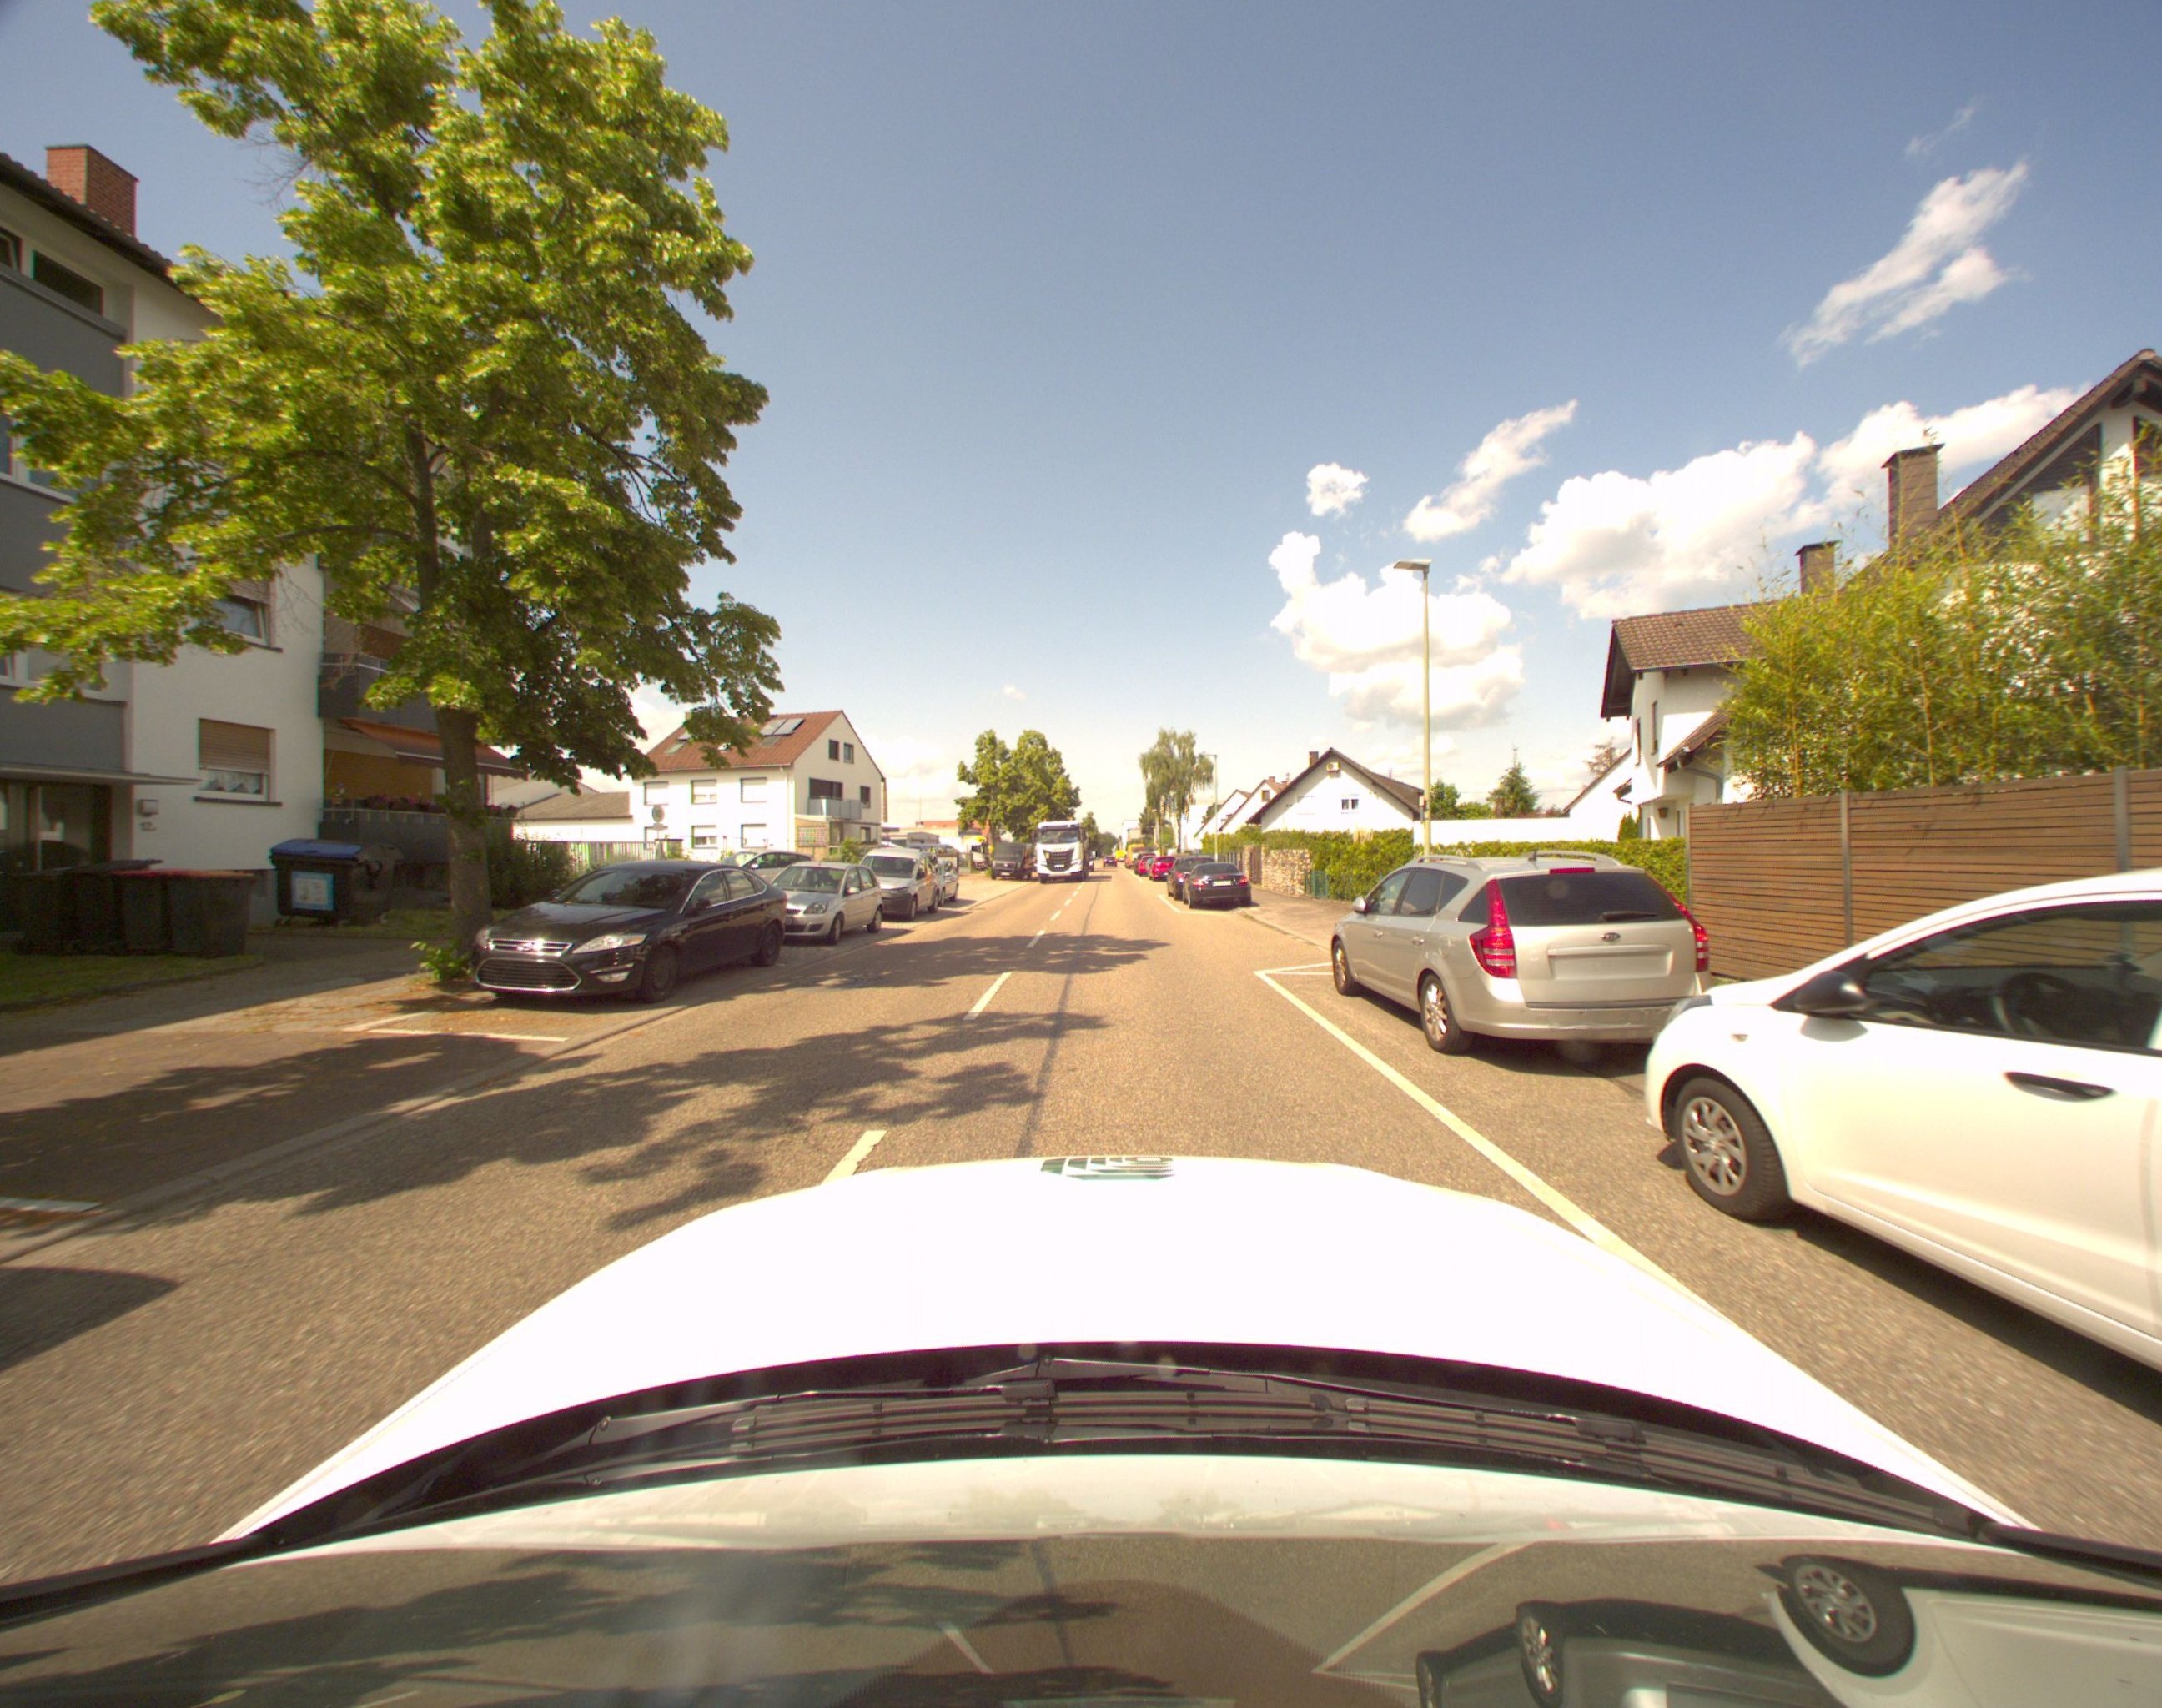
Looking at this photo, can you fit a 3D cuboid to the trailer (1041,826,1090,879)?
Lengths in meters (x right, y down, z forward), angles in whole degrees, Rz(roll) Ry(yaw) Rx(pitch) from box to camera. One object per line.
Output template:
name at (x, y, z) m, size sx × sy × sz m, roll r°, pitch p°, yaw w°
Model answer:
trailer at (-0.928, -0.095, 52.375) m, size 2.825 × 3.069 × 8.887 m, roll -1°, pitch 0°, yaw 0°

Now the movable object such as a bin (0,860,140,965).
movable object such as a bin at (-12.496, 0.701, 10.062) m, size 0.747 × 1.214 × 0.807 m, roll 0°, pitch 2°, yaw 2°

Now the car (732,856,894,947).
car at (-5.051, 0.832, 15.947) m, size 1.616 × 1.469 × 3.928 m, roll 3°, pitch 0°, yaw 3°

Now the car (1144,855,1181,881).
car at (4.722, 0.771, 47.600) m, size 1.686 × 1.463 × 4.755 m, roll 0°, pitch 0°, yaw 0°

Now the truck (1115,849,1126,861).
truck at (10.079, 0.264, 206.501) m, size 2.466 × 2.940 × 7.189 m, roll 0°, pitch 0°, yaw 1°

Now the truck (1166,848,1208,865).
truck at (16.498, 0.353, 126.309) m, size 6.068 × 2.577 × 2.546 m, roll -1°, pitch 0°, yaw -24°

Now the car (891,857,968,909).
car at (-5.088, 0.914, 27.935) m, size 1.743 × 1.461 × 4.708 m, roll 2°, pitch 1°, yaw -1°

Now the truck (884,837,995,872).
truck at (-12.503, 0.039, 72.215) m, size 9.211 × 2.856 × 2.725 m, roll -1°, pitch 0°, yaw 6°

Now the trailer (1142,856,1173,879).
trailer at (4.880, 0.849, 52.264) m, size 1.602 × 1.378 × 4.432 m, roll 0°, pitch 0°, yaw 1°

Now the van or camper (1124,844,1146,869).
van or camper at (5.955, 0.252, 90.318) m, size 1.987 × 2.664 × 5.768 m, roll -1°, pitch 0°, yaw 0°

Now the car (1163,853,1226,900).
car at (4.021, 0.740, 29.397) m, size 1.738 × 1.551 × 4.122 m, roll 1°, pitch 0°, yaw 1°

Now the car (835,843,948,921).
car at (-4.941, 0.673, 21.911) m, size 1.803 × 1.806 × 4.492 m, roll 2°, pitch 0°, yaw 1°

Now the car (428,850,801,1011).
car at (-5.289, 0.741, 10.149) m, size 1.802 × 1.493 × 4.599 m, roll 2°, pitch 0°, yaw 2°

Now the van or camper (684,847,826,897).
van or camper at (-10.705, 0.559, 26.954) m, size 1.758 × 1.543 × 4.025 m, roll 1°, pitch 0°, yaw 37°

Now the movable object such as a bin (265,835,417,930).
movable object such as a bin at (-12.162, 0.435, 13.458) m, size 1.266 × 1.383 × 1.266 m, roll 2°, pitch 5°, yaw 1°

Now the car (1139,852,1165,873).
car at (5.008, 0.608, 57.606) m, size 1.678 × 1.435 × 4.149 m, roll 0°, pitch 0°, yaw 3°

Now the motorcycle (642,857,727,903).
motorcycle at (-11.382, 0.739, 23.421) m, size 2.085 × 1.249 × 0.678 m, roll 1°, pitch 0°, yaw 1°

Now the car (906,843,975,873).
car at (-11.098, 0.319, 64.341) m, size 4.964 × 2.231 × 2.008 m, roll -1°, pitch -1°, yaw 14°

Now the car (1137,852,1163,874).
car at (5.272, 0.671, 62.650) m, size 1.823 × 1.662 × 4.556 m, roll -1°, pitch 0°, yaw 2°

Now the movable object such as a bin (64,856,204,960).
movable object such as a bin at (-11.710, 0.648, 10.099) m, size 0.747 × 1.214 × 0.807 m, roll 0°, pitch 2°, yaw 2°

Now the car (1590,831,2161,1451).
car at (3.355, 0.686, 2.449) m, size 1.437 × 1.505 × 3.672 m, roll -1°, pitch 0°, yaw 2°

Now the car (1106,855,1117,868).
car at (3.856, 0.963, 102.874) m, size 1.422 × 1.519 × 3.019 m, roll -1°, pitch 0°, yaw 3°

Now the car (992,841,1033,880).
car at (-4.180, 0.339, 50.113) m, size 2.162 × 2.259 × 4.000 m, roll 1°, pitch 1°, yaw 0°

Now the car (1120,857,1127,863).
car at (10.099, 1.524, 195.079) m, size 1.645 × 1.387 × 4.425 m, roll 0°, pitch 0°, yaw 2°

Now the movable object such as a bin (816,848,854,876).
movable object such as a bin at (-14.283, 0.474, 47.375) m, size 1.298 × 1.431 × 1.611 m, roll -1°, pitch 6°, yaw 18°

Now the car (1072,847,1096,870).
car at (0.344, 0.420, 75.775) m, size 2.043 × 2.034 × 5.143 m, roll -3°, pitch 0°, yaw 2°

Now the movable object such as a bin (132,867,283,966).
movable object such as a bin at (-10.815, 0.754, 10.118) m, size 0.950 × 1.149 × 0.825 m, roll 0°, pitch 2°, yaw 1°

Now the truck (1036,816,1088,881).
truck at (-1.011, -0.282, 47.542) m, size 2.763 × 3.499 × 5.882 m, roll -1°, pitch 0°, yaw 1°

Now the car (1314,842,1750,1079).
car at (3.572, 0.692, 7.491) m, size 1.738 × 1.552 × 4.293 m, roll 0°, pitch 0°, yaw 2°

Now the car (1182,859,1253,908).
car at (4.068, 0.846, 24.849) m, size 1.703 × 1.318 × 3.966 m, roll -1°, pitch 0°, yaw 3°

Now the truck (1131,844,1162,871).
truck at (5.862, 0.281, 73.279) m, size 2.512 × 2.299 × 5.898 m, roll -1°, pitch 0°, yaw 2°

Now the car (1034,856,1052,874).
car at (-3.427, 0.976, 73.372) m, size 1.241 × 1.519 × 3.368 m, roll -1°, pitch 0°, yaw 3°
